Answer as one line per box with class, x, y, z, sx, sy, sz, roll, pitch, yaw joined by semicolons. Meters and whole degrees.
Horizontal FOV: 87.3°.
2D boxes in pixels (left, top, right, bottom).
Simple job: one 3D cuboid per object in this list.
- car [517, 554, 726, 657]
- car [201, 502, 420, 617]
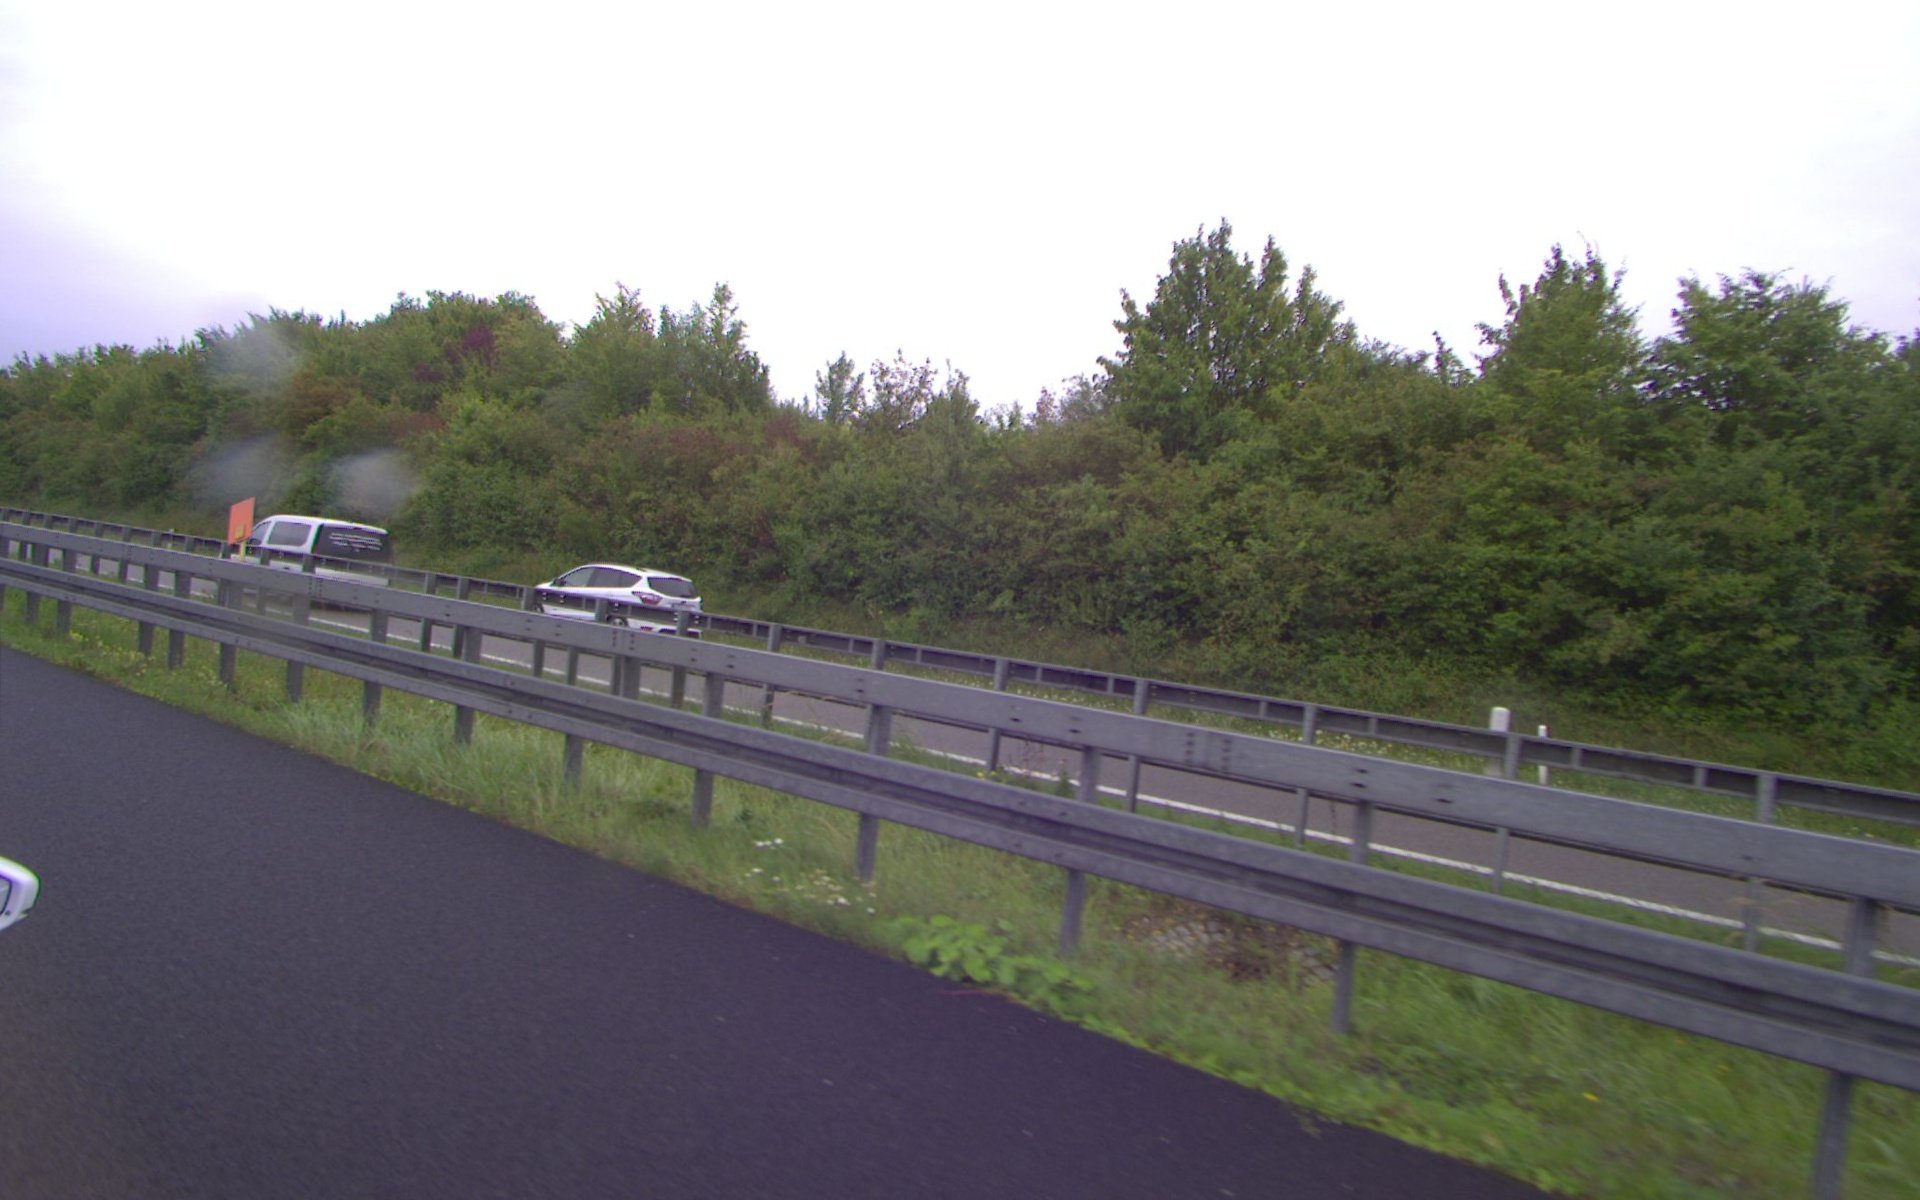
car;-7.202;0.102;21.334;4.077;1.632;1.899;7;-1;31
car;-13.676;-0.861;21.142;4.203;1.836;2.012;7;-1;29
